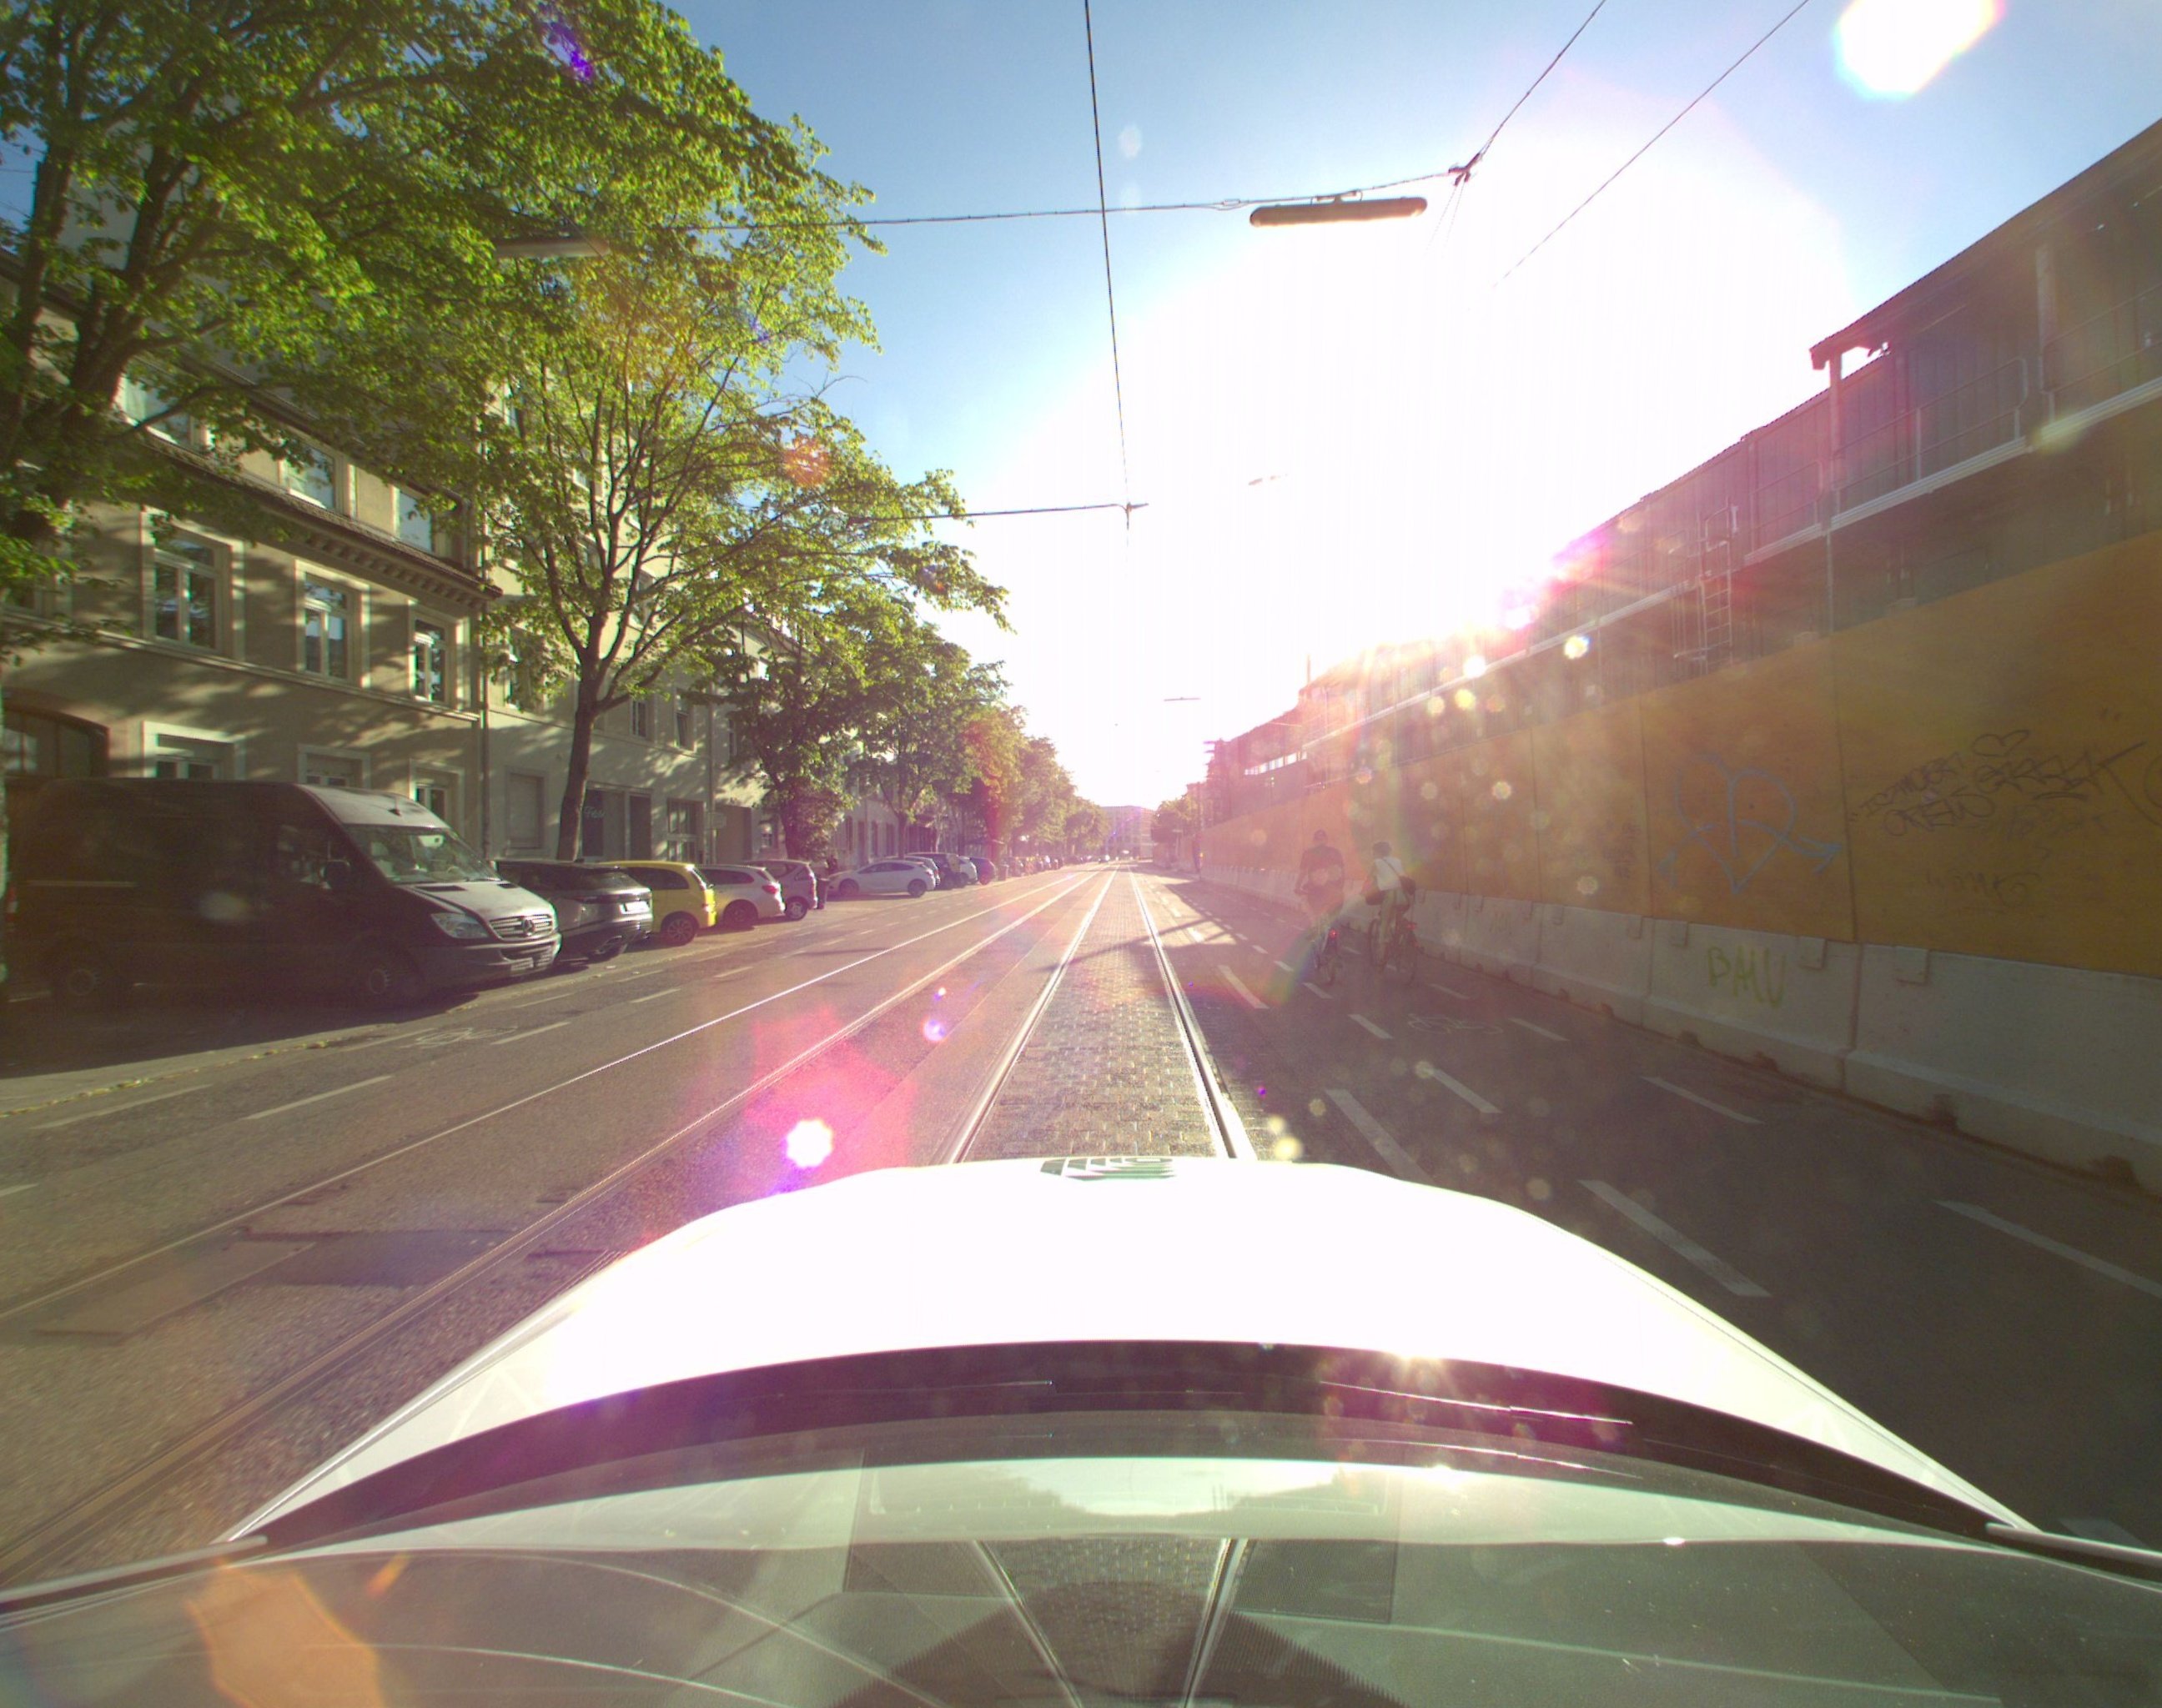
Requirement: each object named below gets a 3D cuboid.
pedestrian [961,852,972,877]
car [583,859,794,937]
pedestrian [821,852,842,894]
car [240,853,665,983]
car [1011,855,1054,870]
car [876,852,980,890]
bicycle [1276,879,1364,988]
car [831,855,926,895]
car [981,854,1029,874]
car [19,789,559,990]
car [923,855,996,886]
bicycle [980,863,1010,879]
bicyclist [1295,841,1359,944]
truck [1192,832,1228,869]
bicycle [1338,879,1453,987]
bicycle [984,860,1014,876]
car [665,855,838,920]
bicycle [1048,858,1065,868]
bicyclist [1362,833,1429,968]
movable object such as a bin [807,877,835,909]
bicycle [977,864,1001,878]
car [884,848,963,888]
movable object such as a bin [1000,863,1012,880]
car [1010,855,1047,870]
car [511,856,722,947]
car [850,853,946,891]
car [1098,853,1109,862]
[{"bbox_3d":[-9.545,0.872,67.926,0.728,2.013,0.557,-1,0,4],"label":"pedestrian"},{"bbox_3d":[-9.149,0.989,19.337,4.163,1.552,1.695,-2,0,-13],"label":"car"},{"bbox_3d":[-11.210,0.854,36.629,0.640,1.838,0.625,-2,0,4],"label":"pedestrian"},{"bbox_3d":[-9.403,0.895,12.542,4.812,1.724,2.164,-1,0,0],"label":"car"},{"bbox_3d":[-5.064,0.861,85.380,4.122,1.512,1.827,0,0,-24],"label":"car"},{"bbox_3d":[-8.034,0.856,42.973,4.962,1.794,2.184,-1,0,-36],"label":"car"},{"bbox_3d":[2.982,0.935,10.386,0.664,1.154,2.279,0,0,5],"label":"bicycle"},{"bbox_3d":[-8.334,0.852,33.495,3.644,1.530,1.876,1,-1,-17],"label":"car"},{"bbox_3d":[-6.291,0.825,67.382,3.629,1.553,1.656,0,1,-23],"label":"car"},{"bbox_3d":[-9.306,0.384,9.933,4.421,2.118,2.164,-1,0,0],"label":"car"},{"bbox_3d":[-7.148,0.959,48.108,3.918,1.609,1.557,-2,0,-34],"label":"car"},{"bbox_3d":[-6.031,1.180,56.975,1.958,1.079,0.569,1,0,5],"label":"bicycle"},{"bbox_3d":[3.078,0.471,10.205,0.649,1.238,0.353,-2,0,0],"label":"bicyclist"},{"bbox_3d":[11.048,-0.270,70.163,2.508,2.909,5.514,-4,0,4],"label":"truck"},{"bbox_3d":[3.919,0.926,10.348,0.555,1.127,2.276,-2,0,0],"label":"bicycle"},{"bbox_3d":[-5.868,0.998,58.298,1.993,1.087,0.568,3,0,5],"label":"bicycle"},{"bbox_3d":[-8.871,0.878,22.132,3.970,1.676,1.704,-1,0,3],"label":"car"},{"bbox_3d":[-2.838,1.065,95.480,1.969,1.144,0.490,1,-1,-16],"label":"bicycle"},{"bbox_3d":[3.883,0.559,10.088,0.554,1.613,0.576,-2,0,1],"label":"bicyclist"},{"bbox_3d":[-8.109,1.222,25.381,0.619,0.945,0.670,-1,0,2],"label":"movable object such as a bin"},{"bbox_3d":[-6.271,1.153,55.302,1.598,0.988,0.388,0,0,-8],"label":"bicycle"},{"bbox_3d":[-7.780,0.719,40.242,3.457,1.843,1.715,1,-4,-32],"label":"car"},{"bbox_3d":[-5.042,1.165,54.627,0.680,1.078,0.711,2,0,4],"label":"movable object such as a bin"},{"bbox_3d":[-5.342,0.889,82.486,3.379,1.493,1.600,1,0,-25],"label":"car"},{"bbox_3d":[-8.869,0.870,15.770,3.383,1.553,1.372,1,1,-28],"label":"car"},{"bbox_3d":[-8.462,0.821,37.769,4.009,1.656,1.795,1,0,-27],"label":"car"},{"bbox_3d":[4.472,0.663,161.517,1.920,1.629,4.251,-4,1,2],"label":"car"}]
